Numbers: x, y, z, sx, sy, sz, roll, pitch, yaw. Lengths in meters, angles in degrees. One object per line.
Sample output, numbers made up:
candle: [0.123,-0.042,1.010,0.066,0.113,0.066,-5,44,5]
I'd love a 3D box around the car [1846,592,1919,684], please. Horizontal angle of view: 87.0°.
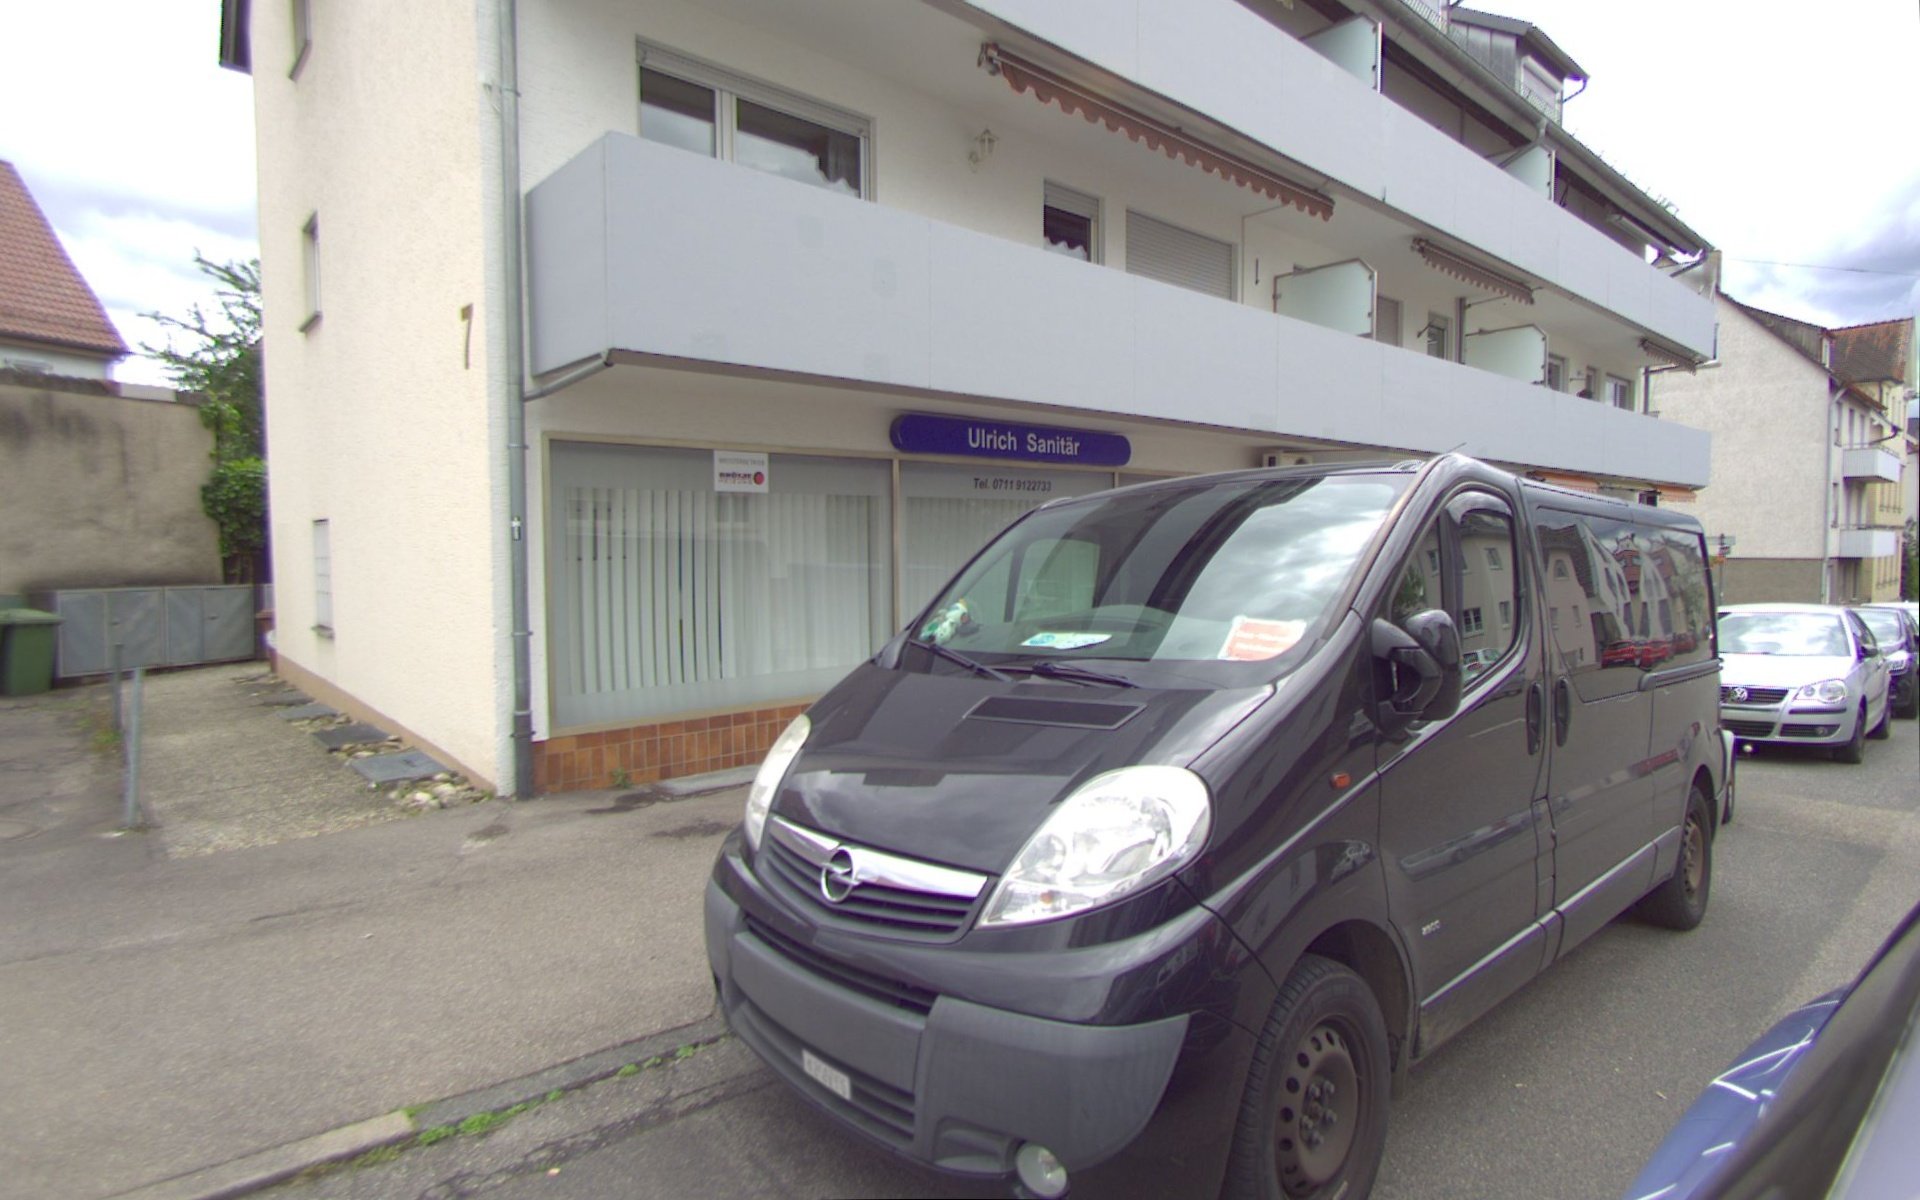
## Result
car: [16.707,0.608,17.594,3.257,1.473,1.611,-1,1,-42]

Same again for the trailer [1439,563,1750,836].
trailer: [4.723,0.566,7.404,1.422,1.587,2.791,0,0,43]

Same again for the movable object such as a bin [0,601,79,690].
movable object such as a bin: [-12.135,0.584,13.171,0.925,1.119,0.576,1,-3,20]

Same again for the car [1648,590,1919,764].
car: [8.839,0.642,10.701,4.260,1.473,1.611,-1,1,-42]

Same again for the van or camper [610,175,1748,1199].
van or camper: [1.407,0.310,4.091,4.978,2.039,1.996,0,0,-42]

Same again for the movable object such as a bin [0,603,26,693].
movable object such as a bin: [-12.350,0.581,12.581,0.925,1.119,0.673,1,-3,20]

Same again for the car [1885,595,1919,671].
car: [19.852,0.628,20.305,3.536,1.423,1.583,-1,1,-42]

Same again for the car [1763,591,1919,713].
car: [12.625,0.621,14.146,3.793,1.473,1.611,-1,1,-42]

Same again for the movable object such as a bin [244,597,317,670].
movable object such as a bin: [-9.760,0.468,14.544,0.649,0.951,0.575,0,6,30]
